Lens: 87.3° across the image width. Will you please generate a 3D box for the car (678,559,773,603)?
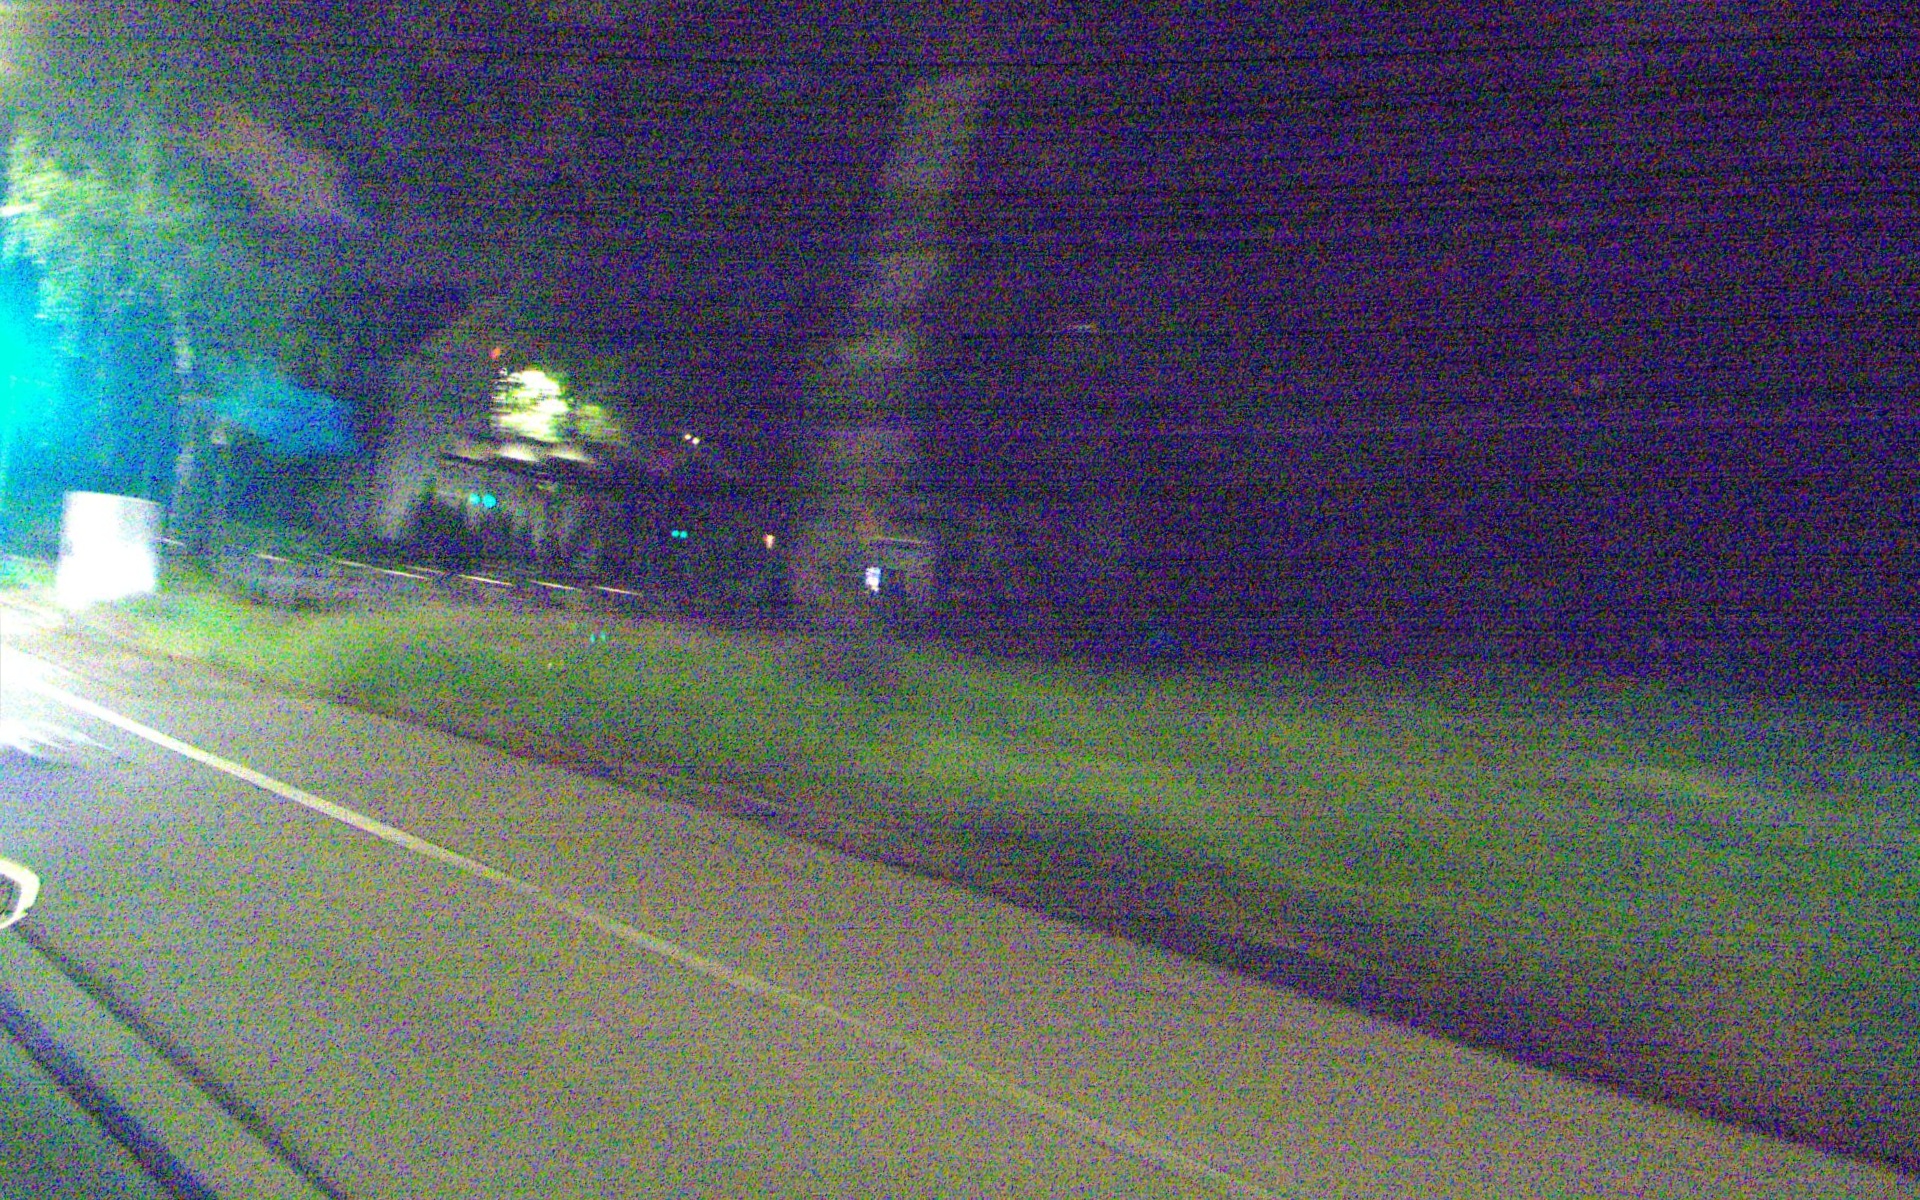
[{"bbox_3d":[-10.016,-0.807,43.257,1.721,1.491,3.775,6,0,32],"label":"car"}]
